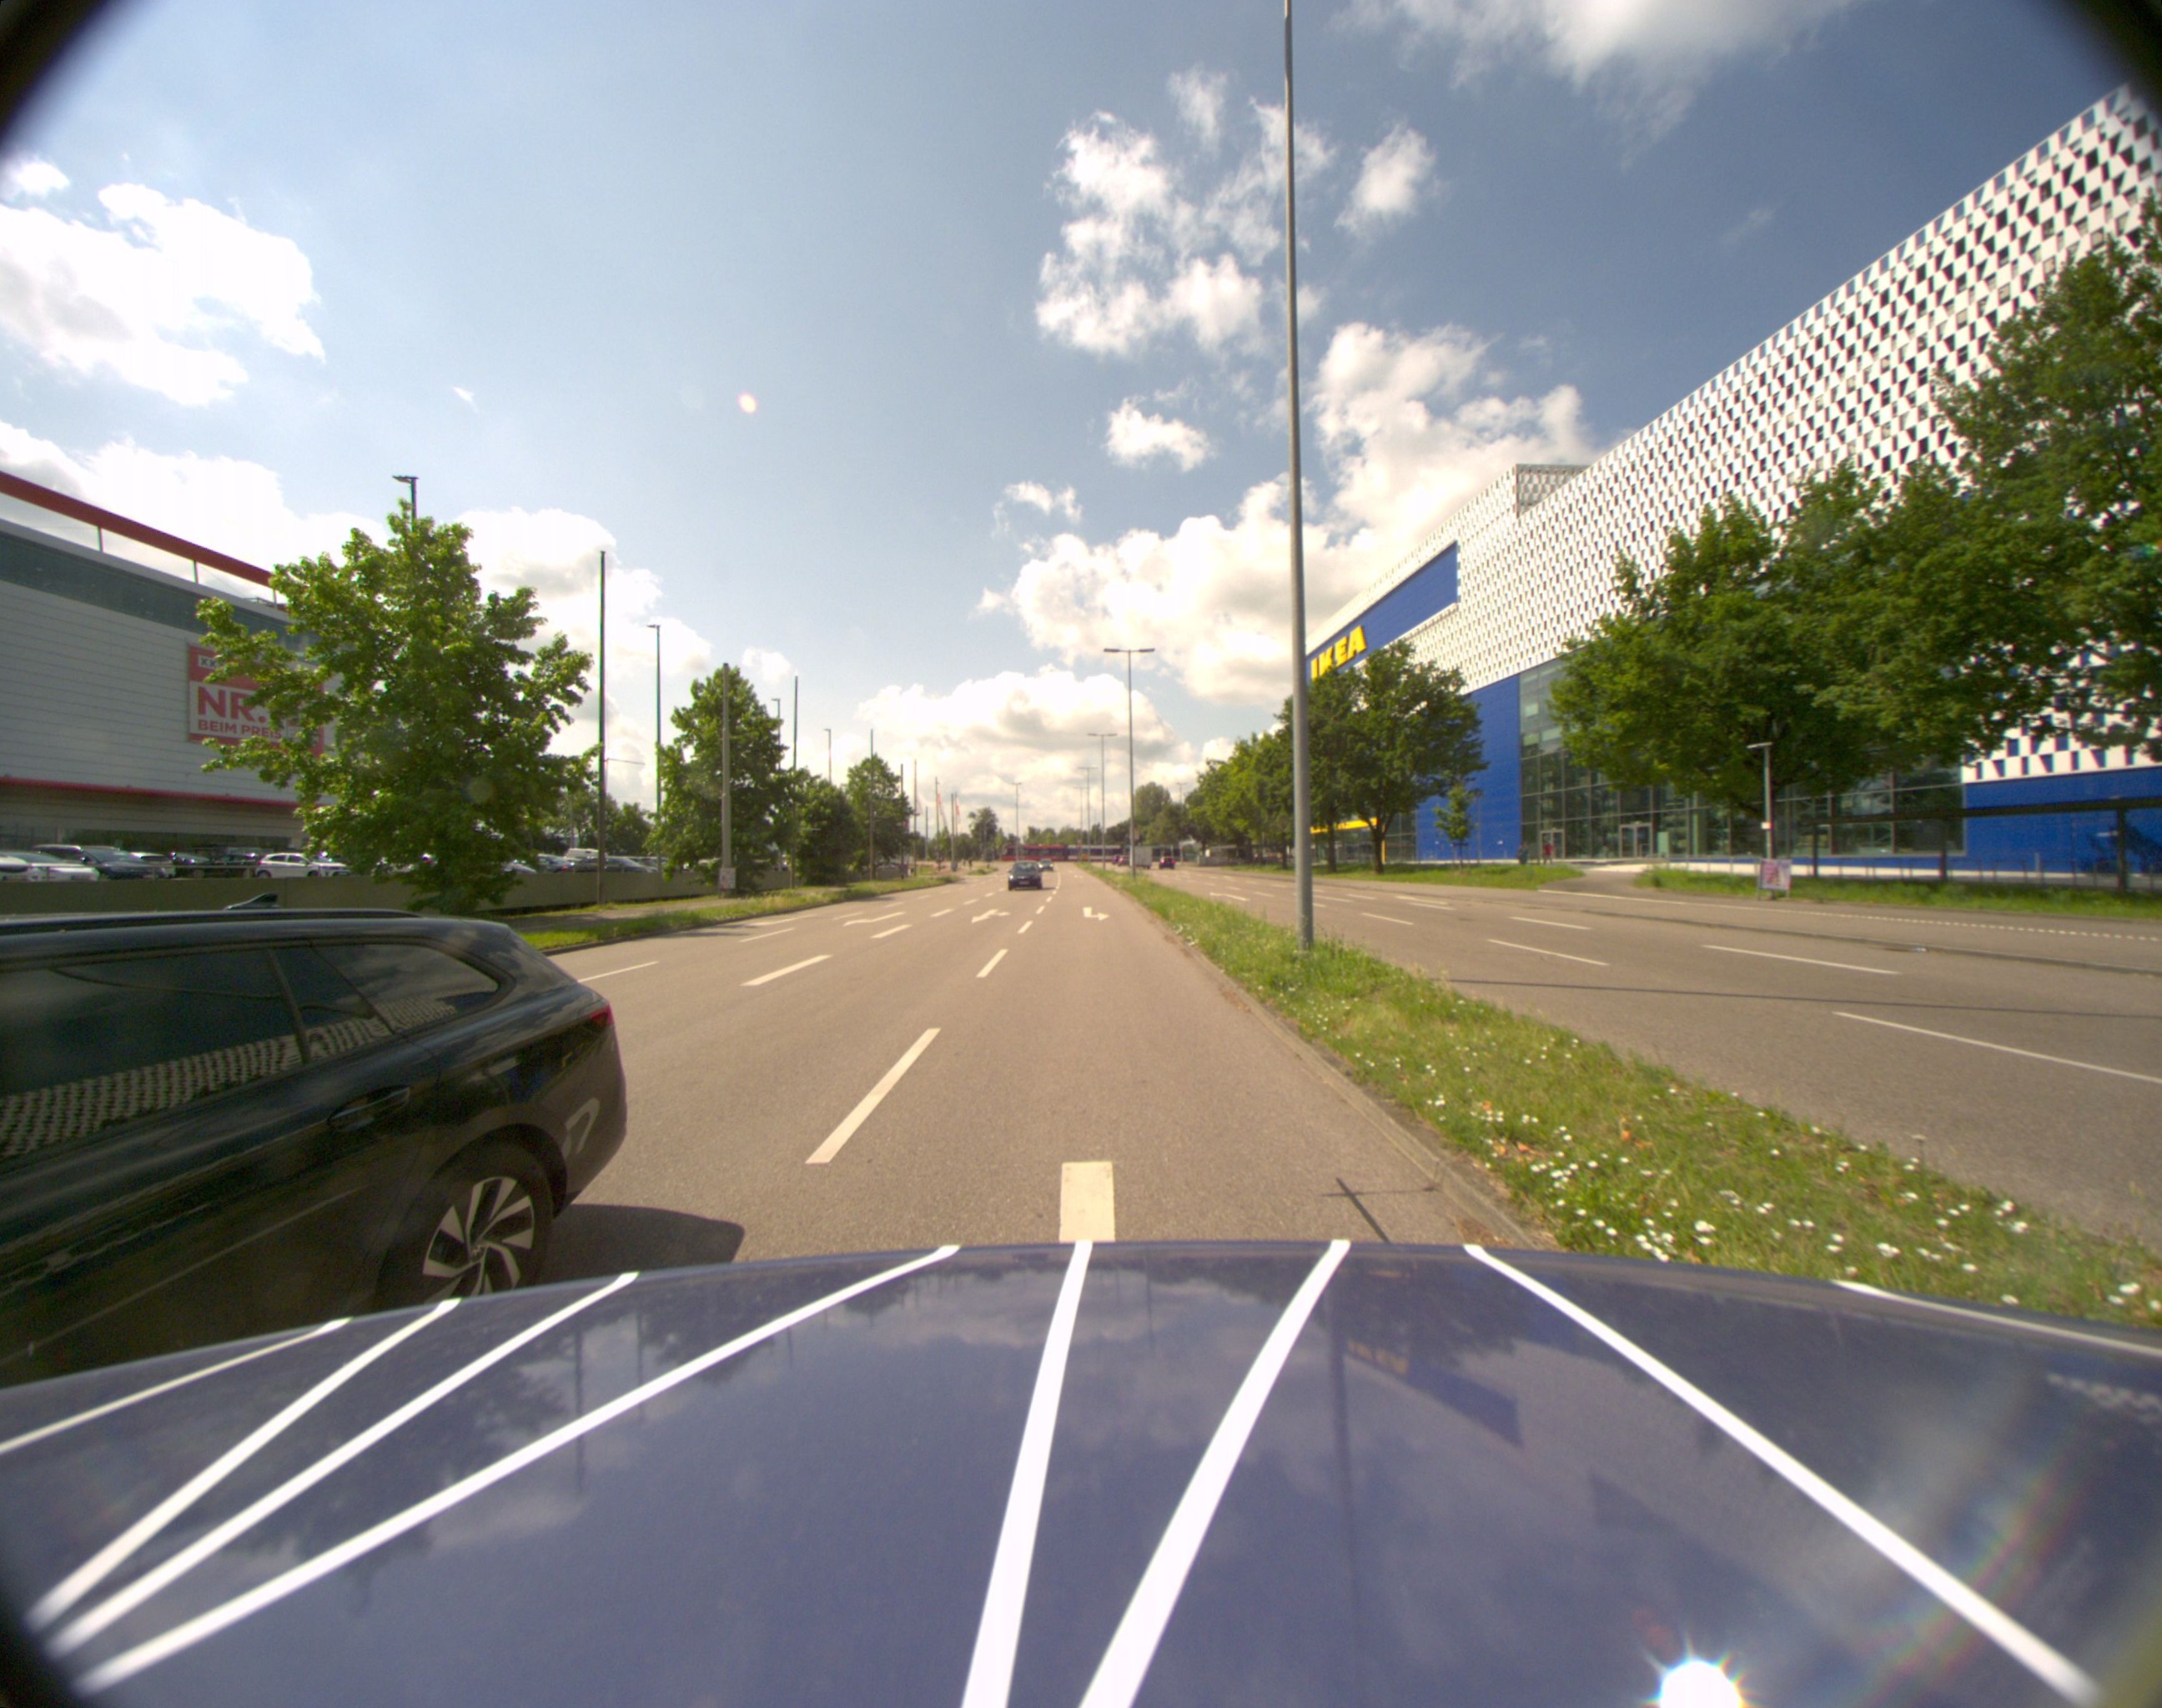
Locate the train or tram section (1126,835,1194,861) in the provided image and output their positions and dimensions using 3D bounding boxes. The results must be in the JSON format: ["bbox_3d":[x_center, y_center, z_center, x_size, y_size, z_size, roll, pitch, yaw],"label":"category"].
[{"bbox_3d":[15.799,-1.236,152.929,13.098,4.646,3.731,-2,1,-2],"label":"train or tram section"}]

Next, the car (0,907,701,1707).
[{"bbox_3d":[-2.812,1.026,1.140,1.813,1.469,5.204,-2,0,0],"label":"car"}]

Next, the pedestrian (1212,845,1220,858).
[{"bbox_3d":[23.503,-0.454,131.976,0.817,2.082,1.041,-1,2,42],"label":"pedestrian"}]

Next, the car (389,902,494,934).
[{"bbox_3d":[-37.557,3.726,44.730,4.421,1.596,1.954,-2,0,-2],"label":"car"}]

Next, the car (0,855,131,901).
[{"bbox_3d":[-38.501,0.897,28.246,4.417,1.596,1.956,-2,0,8],"label":"car"}]

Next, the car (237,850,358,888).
[{"bbox_3d":[-40.872,0.758,39.697,4.421,1.754,1.559,-2,1,-3],"label":"car"}]

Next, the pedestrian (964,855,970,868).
[{"bbox_3d":[-15.912,1.106,106.276,0.705,1.803,0.545,-3,1,-15],"label":"pedestrian"}]

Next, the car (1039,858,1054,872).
[{"bbox_3d":[-4.069,1.293,89.536,1.606,1.521,4.269,-1,0,0],"label":"car"}]

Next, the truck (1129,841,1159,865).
[{"bbox_3d":[7.815,-0.166,94.358,2.972,2.736,5.782,-2,1,-2],"label":"truck"}]

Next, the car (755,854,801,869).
[{"bbox_3d":[-34.460,0.826,86.528,4.420,1.596,1.955,-2,0,-1],"label":"car"}]

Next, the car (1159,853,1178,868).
[{"bbox_3d":[10.951,0.792,95.109,1.941,1.674,3.999,-2,1,1],"label":"car"}]

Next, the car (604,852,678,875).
[{"bbox_3d":[-33.386,0.744,57.753,4.420,1.596,1.955,-2,0,-1],"label":"car"}]

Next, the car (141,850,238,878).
[{"bbox_3d":[-55.189,0.628,47.069,4.416,1.596,1.956,-2,0,11],"label":"car"}]

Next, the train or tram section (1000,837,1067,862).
[{"bbox_3d":[-9.359,-0.876,151.911,13.098,4.535,3.731,-2,1,-2],"label":"train or tram section"}]

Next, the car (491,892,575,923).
[{"bbox_3d":[-37.465,3.645,52.020,4.421,1.754,1.559,-2,1,-3],"label":"car"}]

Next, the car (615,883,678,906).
[{"bbox_3d":[-37.928,3.497,66.387,4.421,1.754,1.559,-2,1,-3],"label":"car"}]

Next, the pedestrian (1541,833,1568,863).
[{"bbox_3d":[27.731,-0.372,44.536,0.854,1.718,1.165,-2,1,3],"label":"pedestrian"}]

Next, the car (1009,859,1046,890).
[{"bbox_3d":[-2.798,1.067,40.410,1.606,1.521,4.269,-1,0,0],"label":"car"}]

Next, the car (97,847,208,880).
[{"bbox_3d":[-49.049,0.473,40.163,4.415,1.596,1.957,-2,0,14],"label":"car"}]

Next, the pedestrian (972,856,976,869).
[{"bbox_3d":[-15.013,1.169,106.434,0.527,1.803,0.677,-2,1,-9],"label":"pedestrian"}]

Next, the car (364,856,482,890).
[{"bbox_3d":[-34.380,0.989,39.778,4.420,1.596,1.955,-2,0,-1],"label":"car"}]

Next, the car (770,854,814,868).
[{"bbox_3d":[-34.617,0.851,91.101,4.420,1.596,1.955,-2,0,-1],"label":"car"}]

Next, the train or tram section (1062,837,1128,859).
[{"bbox_3d":[2.726,-1.139,152.446,13.099,4.346,3.731,0,1,-2],"label":"train or tram section"}]

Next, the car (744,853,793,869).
[{"bbox_3d":[-34.116,0.783,83.061,4.420,1.596,1.955,-2,0,-1],"label":"car"}]

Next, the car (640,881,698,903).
[{"bbox_3d":[-38.089,3.501,70.295,4.421,1.754,1.559,-2,1,-3],"label":"car"}]

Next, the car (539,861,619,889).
[{"bbox_3d":[-32.953,1.357,49.937,3.996,1.595,1.778,-2,1,2],"label":"car"}]

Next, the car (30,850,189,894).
[{"bbox_3d":[-39.240,0.713,30.734,4.417,1.596,1.956,-2,0,8],"label":"car"}]

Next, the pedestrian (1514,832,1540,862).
[{"bbox_3d":[26.277,-0.438,44.777,0.854,1.718,1.165,-2,1,3],"label":"pedestrian"}]

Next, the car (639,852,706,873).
[{"bbox_3d":[-33.583,0.697,62.545,4.420,1.596,1.955,-2,0,-1],"label":"car"}]

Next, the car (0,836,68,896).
[{"bbox_3d":[-34.258,0.426,23.293,3.997,1.783,1.749,-2,1,1],"label":"car"}]

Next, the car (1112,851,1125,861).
[{"bbox_3d":[6.200,0.315,125.306,1.941,1.674,3.999,-2,1,1],"label":"car"}]

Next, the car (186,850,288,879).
[{"bbox_3d":[-49.664,0.599,44.737,4.416,1.596,1.956,-2,0,11],"label":"car"}]

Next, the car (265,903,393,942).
[{"bbox_3d":[-36.997,3.359,37.455,4.419,1.596,1.955,-2,0,3],"label":"car"}]

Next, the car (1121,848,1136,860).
[{"bbox_3d":[6.896,-0.020,110.307,1.941,1.674,3.999,-2,1,1],"label":"car"}]

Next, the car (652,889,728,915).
[{"bbox_3d":[-28.442,3.476,55.357,4.420,1.596,1.955,-2,0,-1],"label":"car"}]
